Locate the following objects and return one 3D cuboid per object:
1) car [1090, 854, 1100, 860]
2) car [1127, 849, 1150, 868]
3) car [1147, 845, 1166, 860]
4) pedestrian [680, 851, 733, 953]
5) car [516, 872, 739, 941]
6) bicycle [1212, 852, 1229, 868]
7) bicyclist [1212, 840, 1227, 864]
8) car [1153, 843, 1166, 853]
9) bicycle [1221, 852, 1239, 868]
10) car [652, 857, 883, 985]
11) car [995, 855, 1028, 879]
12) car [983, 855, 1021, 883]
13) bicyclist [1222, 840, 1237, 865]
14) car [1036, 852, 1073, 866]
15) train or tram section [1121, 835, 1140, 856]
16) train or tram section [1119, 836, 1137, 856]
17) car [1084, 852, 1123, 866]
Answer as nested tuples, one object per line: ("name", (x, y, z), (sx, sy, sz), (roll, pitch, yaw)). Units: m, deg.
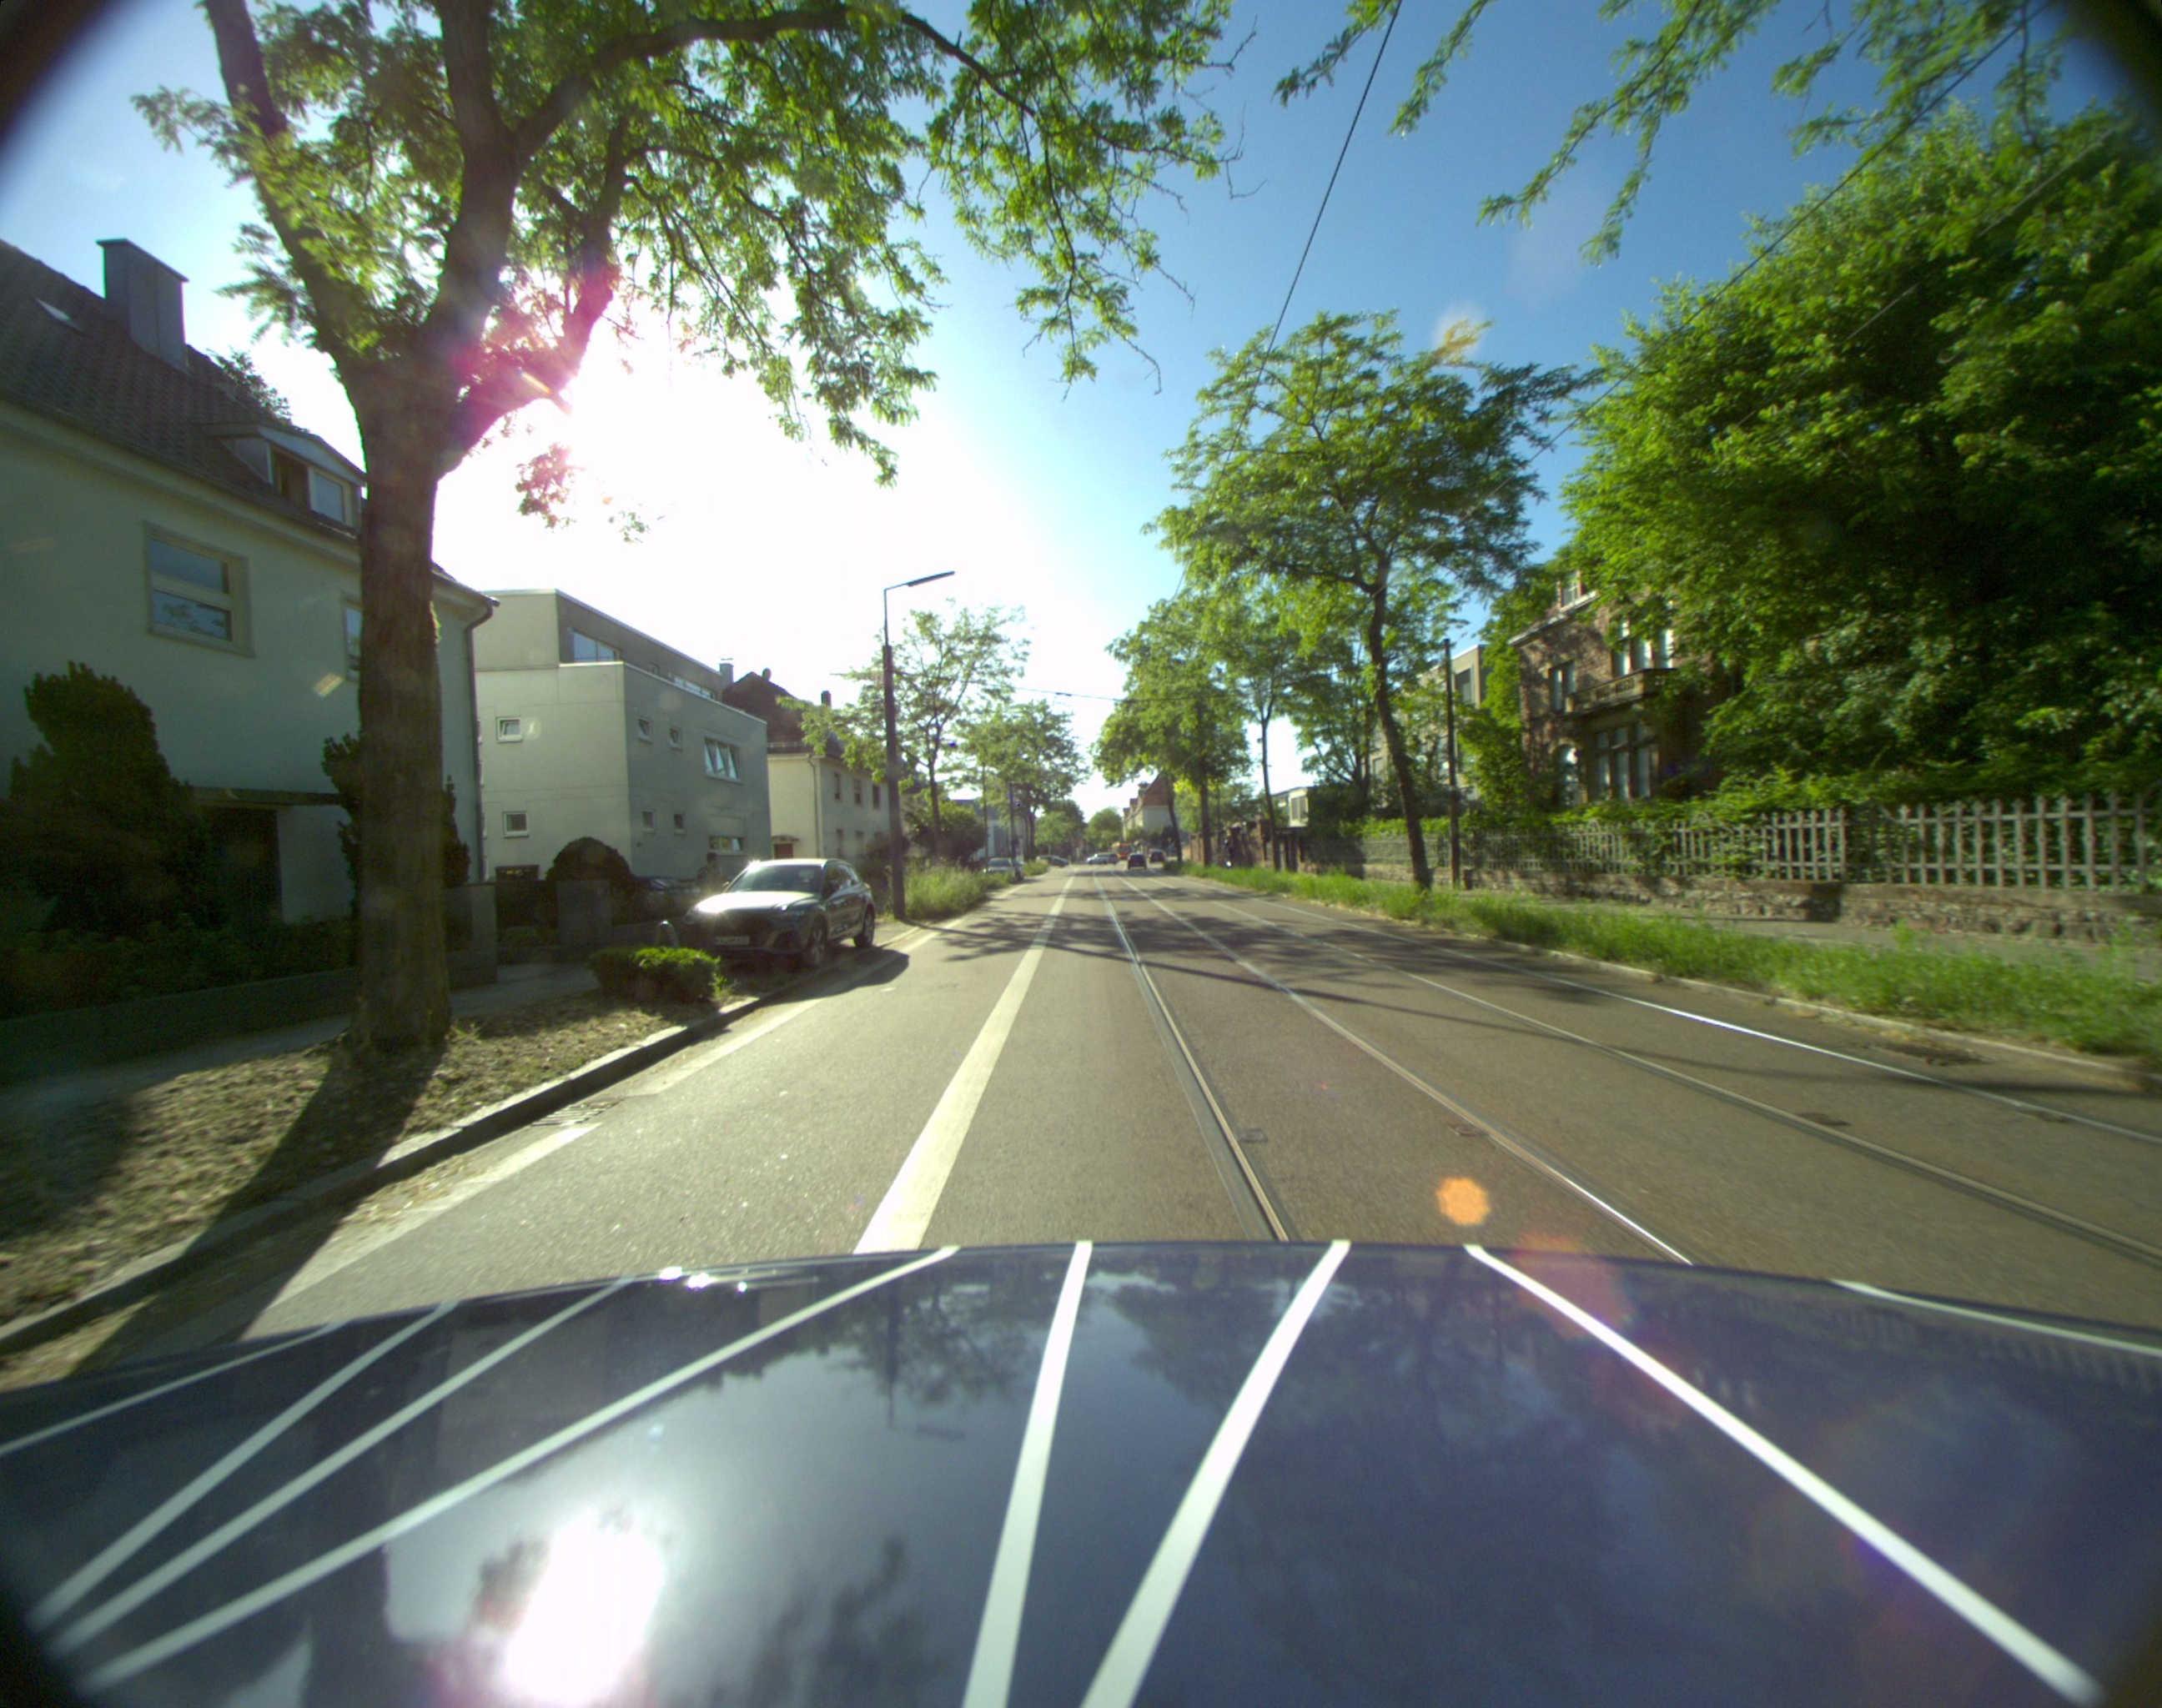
("car", (3.363, 0.694, 185.698), (1.743, 1.450, 3.691), (-3, 0, -8))
("car", (5.192, 0.377, 69.016), (1.753, 1.515, 4.069), (-3, 1, 0))
("car", (8.672, -0.178, 87.096), (1.753, 1.515, 4.035), (-3, 1, 0))
("pedestrian", (-7.036, 0.883, 14.308), (0.627, 1.859, 0.732), (0, 1, -1))
("car", (-10.553, 1.195, 17.898), (4.061, 1.335, 1.877), (-2, 0, 0))
("bicycle", (9.125, 0.360, 49.740), (0.720, 0.968, 1.888), (-4, 1, 1))
("bicyclist", (9.081, -0.130, 49.732), (0.711, 1.490, 0.956), (-4, 1, 1))
("car", (15.681, -1.181, 152.244), (1.998, 1.954, 4.934), (-3, 0, 1))
("bicycle", (9.104, 0.350, 46.481), (0.713, 0.955, 2.094), (-2, 0, 1))
("car", (-4.843, 0.921, 12.572), (1.999, 1.694, 4.476), (0, 0, 0))
("car", (-4.629, 0.847, 51.407), (1.753, 1.486, 4.443), (-2, 0, 0))
("car", (-4.642, 0.861, 45.215), (1.753, 1.486, 3.996), (-2, 0, 0))
("bicyclist", (9.083, -0.081, 46.518), (0.710, 1.462, 1.041), (-2, 1, 1))
("car", (-3.096, 0.605, 90.461), (3.994, 1.499, 1.983), (-3, 1, 10))
("train or tram section", (8.545, -1.501, 132.646), (2.811, 3.439, 6.668), (-3, 0, 1))
("train or tram section", (8.615, -1.526, 139.372), (2.811, 3.439, 6.668), (-3, 0, 1))
("car", (2.720, 0.627, 92.285), (2.004, 1.515, 4.567), (-4, 1, -45))
